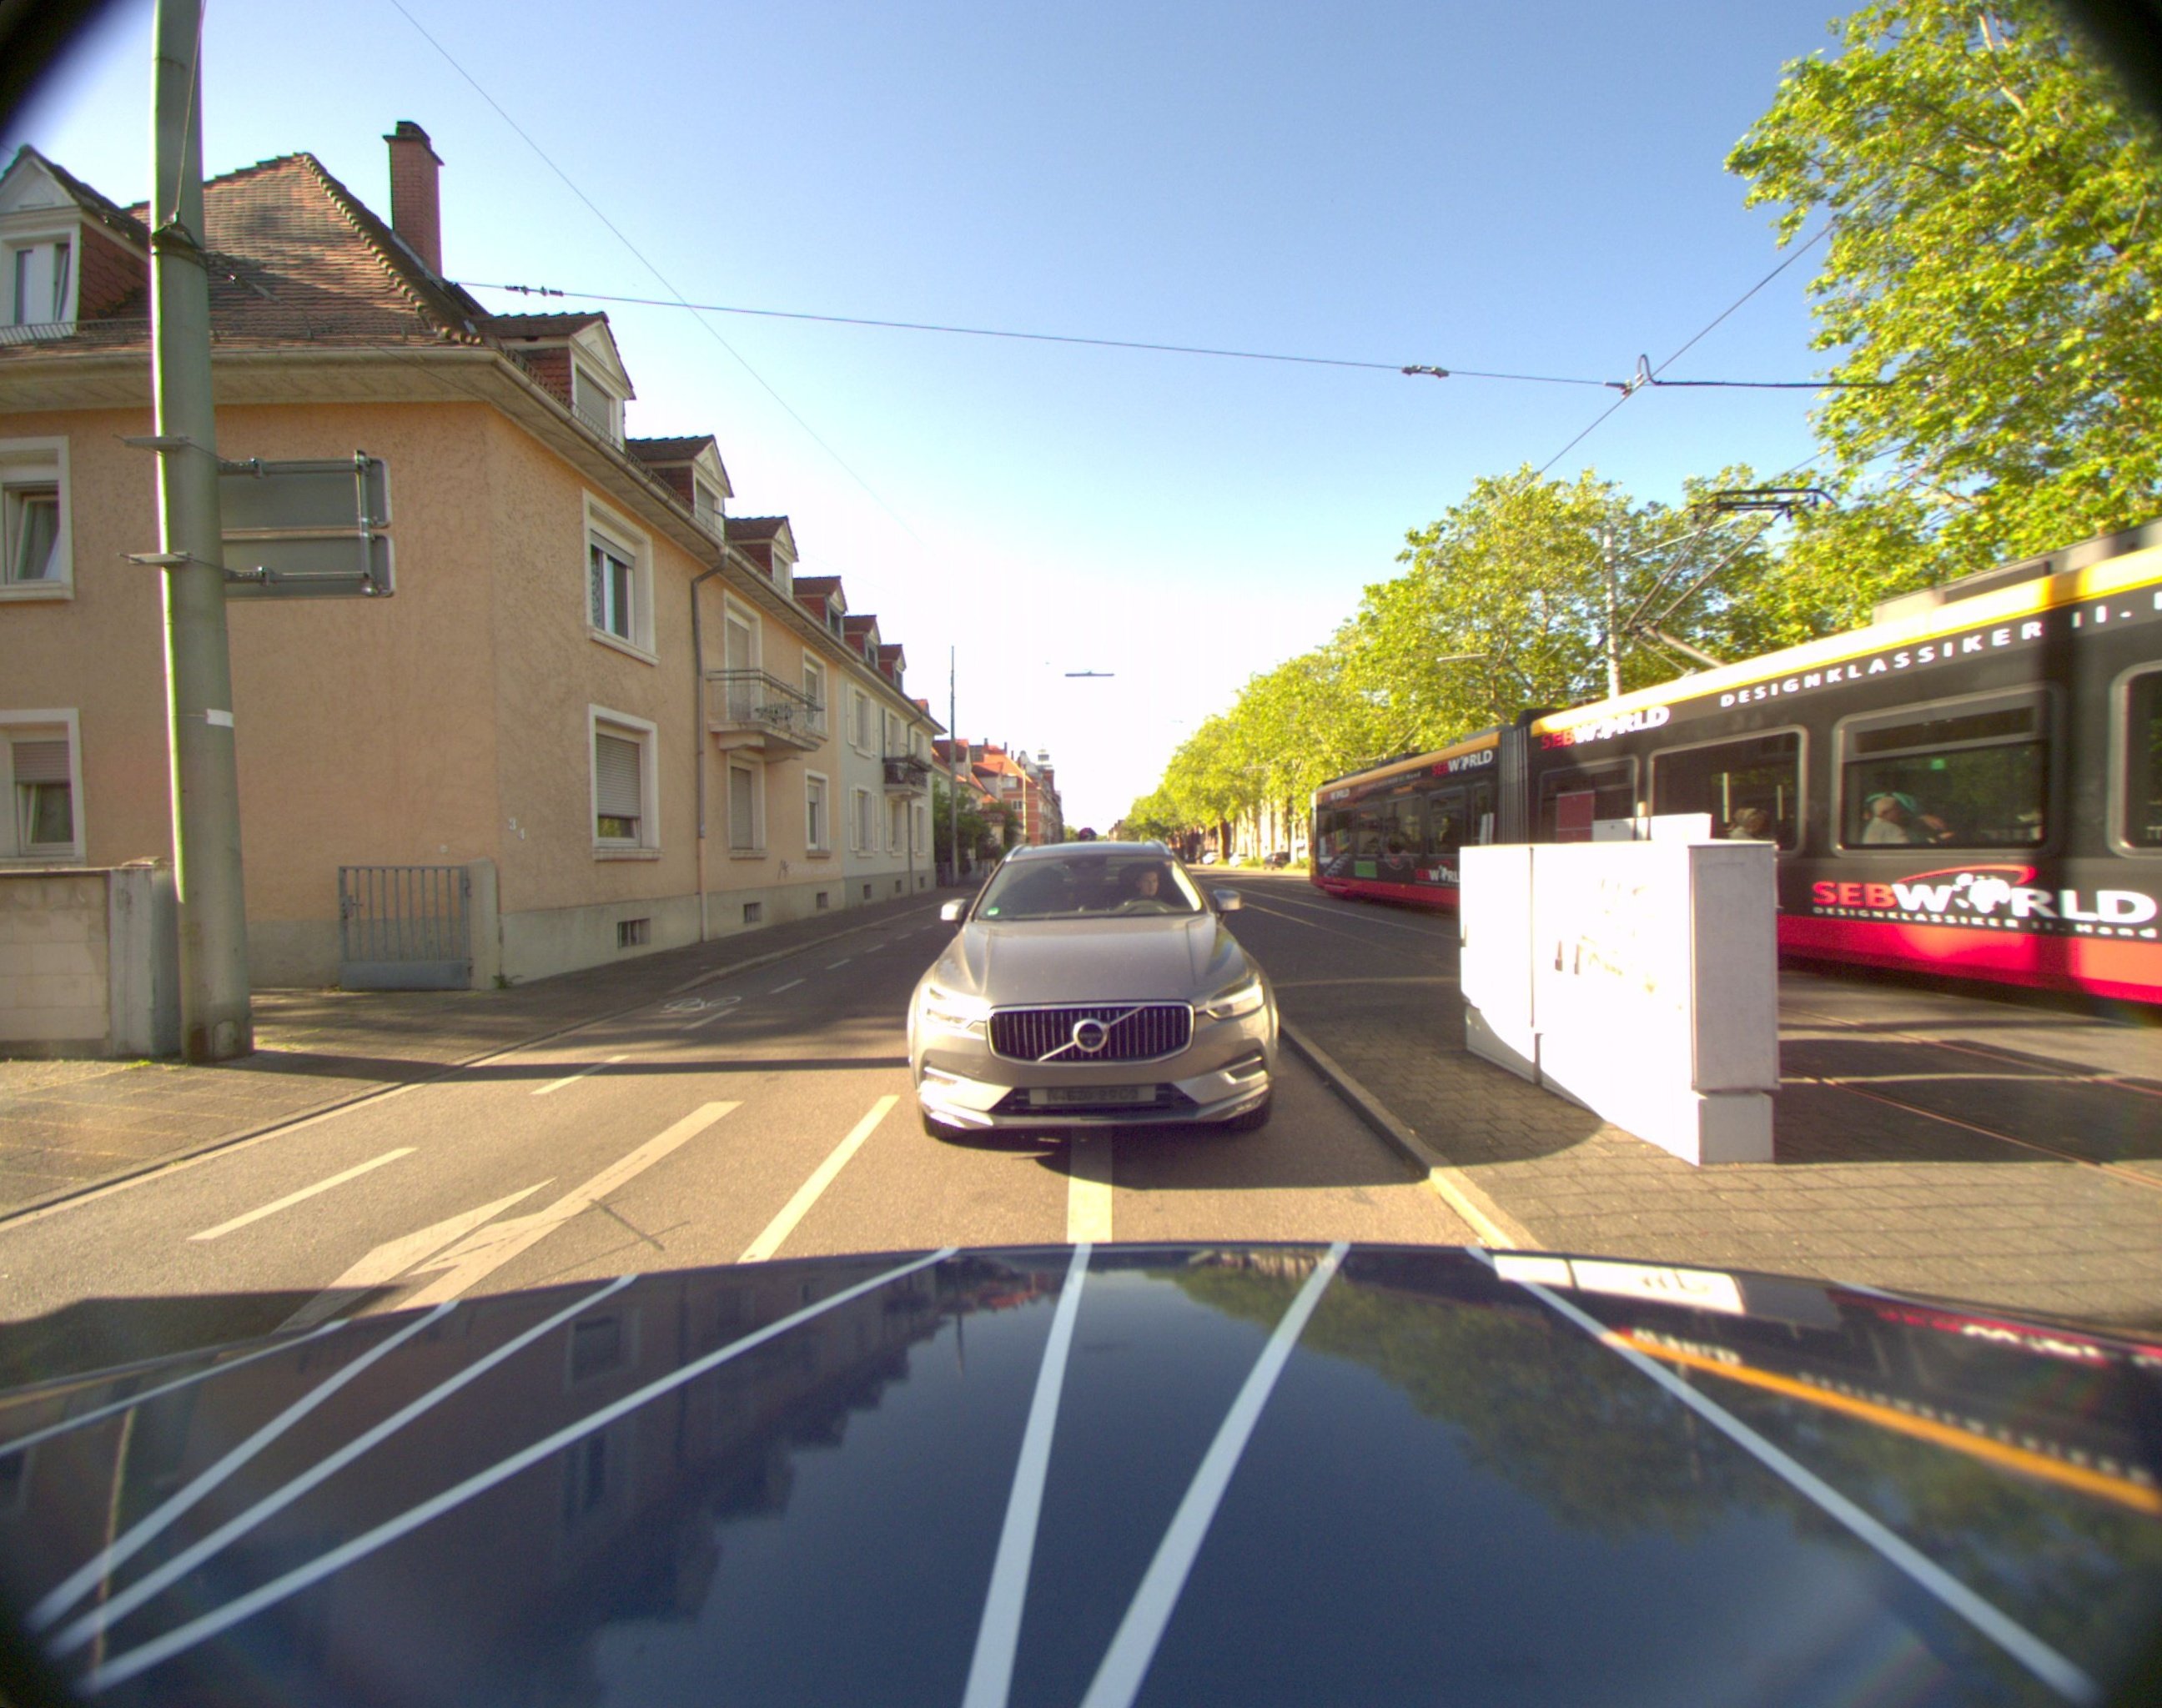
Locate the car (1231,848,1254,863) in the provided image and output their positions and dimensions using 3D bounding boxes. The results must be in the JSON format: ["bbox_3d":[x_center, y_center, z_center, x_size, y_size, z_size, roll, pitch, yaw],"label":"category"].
[{"bbox_3d":[17.710,0.171,83.558,1.882,1.542,4.000,-1,0,2],"label":"car"}]

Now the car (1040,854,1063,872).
[{"bbox_3d":[-2.603,0.772,67.080,1.882,1.477,3.999,-1,0,-1],"label":"car"}]

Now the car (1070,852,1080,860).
[{"bbox_3d":[-1.095,0.312,147.998,1.882,1.477,3.999,-1,0,-1],"label":"car"}]

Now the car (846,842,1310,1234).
[{"bbox_3d":[0.020,0.768,5.443,1.917,1.621,4.502,-1,0,1],"label":"car"}]

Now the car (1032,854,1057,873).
[{"bbox_3d":[-2.899,0.727,61.041,1.882,1.477,3.999,-1,0,-1],"label":"car"}]

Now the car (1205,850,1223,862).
[{"bbox_3d":[17.639,0.291,100.844,1.882,1.542,4.000,-1,0,2],"label":"car"}]

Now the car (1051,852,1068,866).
[{"bbox_3d":[-2.411,0.550,85.652,1.882,1.477,3.999,-1,0,-1],"label":"car"}]

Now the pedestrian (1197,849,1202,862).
[{"bbox_3d":[15.594,0.162,99.814,0.578,1.632,0.677,-1,1,3],"label":"pedestrian"}]

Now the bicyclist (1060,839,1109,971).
[{"bbox_3d":[0.053,0.666,10.215,0.600,1.709,0.662,-1,1,1],"label":"bicyclist"}]

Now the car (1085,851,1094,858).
[{"bbox_3d":[1.837,0.032,168.839,1.882,1.477,3.999,-1,0,-1],"label":"car"}]

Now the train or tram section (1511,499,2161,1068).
[{"bbox_3d":[8.320,-0.470,5.517,3.064,3.592,11.945,-1,0,-3],"label":"train or tram section"}]

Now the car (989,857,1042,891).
[{"bbox_3d":[-3.136,0.930,37.165,1.881,1.477,4.001,-1,0,5],"label":"car"}]

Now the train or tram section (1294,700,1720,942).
[{"bbox_3d":[8.230,-0.519,17.902,3.062,3.592,12.889,-1,0,1],"label":"train or tram section"}]

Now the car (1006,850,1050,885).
[{"bbox_3d":[-2.899,0.699,42.972,1.932,1.834,5.313,-1,0,2],"label":"car"}]

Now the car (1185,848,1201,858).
[{"bbox_3d":[18.531,-0.175,125.673,1.882,1.542,3.999,-1,0,-2],"label":"car"}]

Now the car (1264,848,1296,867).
[{"bbox_3d":[17.233,0.307,65.979,1.882,1.567,4.000,-1,0,2],"label":"car"}]

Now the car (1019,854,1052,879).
[{"bbox_3d":[-2.866,0.786,48.347,1.882,1.477,3.999,-1,0,-1],"label":"car"}]
